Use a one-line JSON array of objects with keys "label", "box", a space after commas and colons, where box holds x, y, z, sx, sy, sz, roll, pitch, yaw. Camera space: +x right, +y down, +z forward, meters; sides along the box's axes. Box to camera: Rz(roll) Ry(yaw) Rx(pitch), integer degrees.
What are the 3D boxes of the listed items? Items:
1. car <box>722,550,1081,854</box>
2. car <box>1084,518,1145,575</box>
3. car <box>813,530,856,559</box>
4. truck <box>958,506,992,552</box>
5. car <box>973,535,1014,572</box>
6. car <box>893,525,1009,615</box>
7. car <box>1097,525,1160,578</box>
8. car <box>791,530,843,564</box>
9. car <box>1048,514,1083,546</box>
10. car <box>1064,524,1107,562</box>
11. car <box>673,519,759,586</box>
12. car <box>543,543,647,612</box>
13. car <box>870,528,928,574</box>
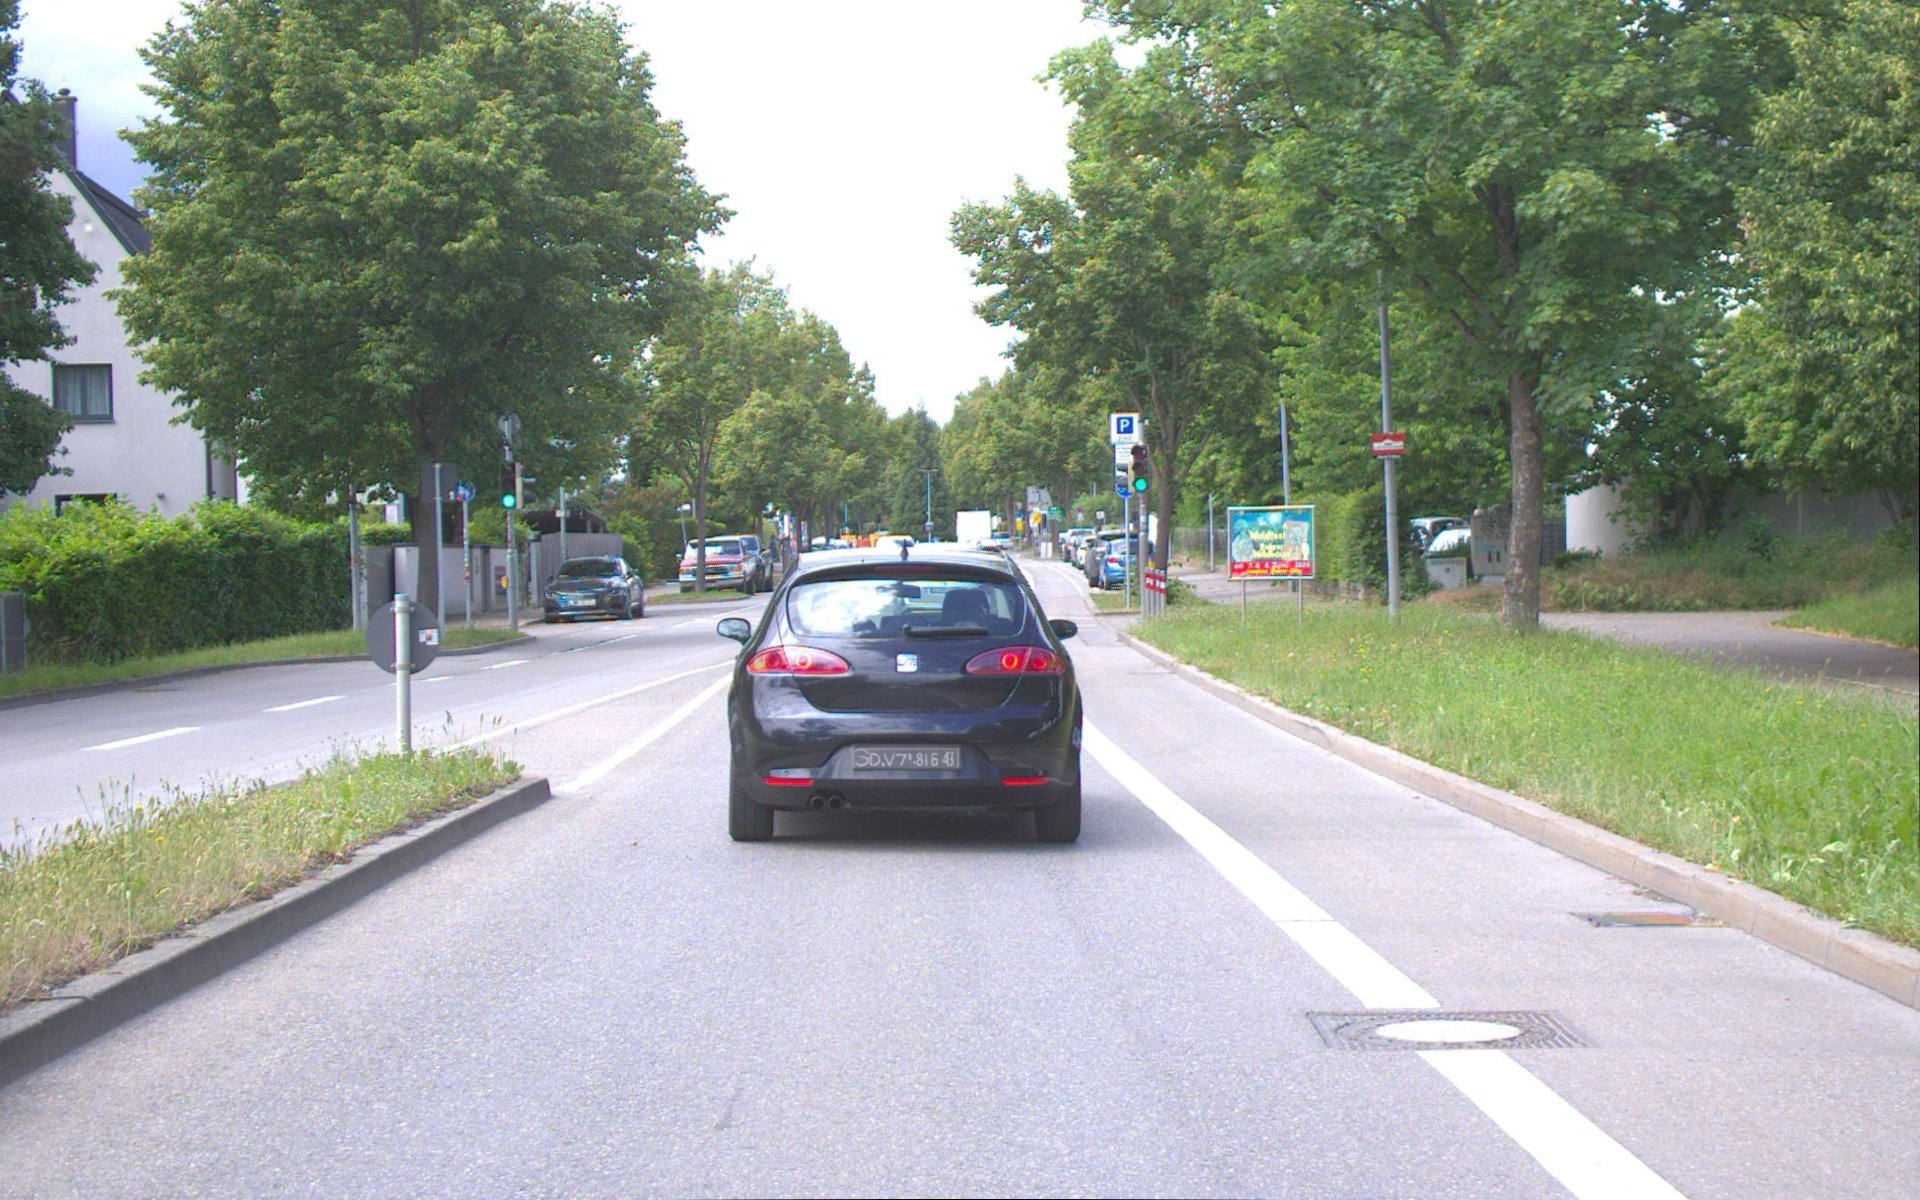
[{"label": "car", "box": [-0.295, 0.448, 17.917, 1.663, 1.396, 3.812, 0, 1, -1]}, {"label": "car", "box": [4.708, -1.653, 105.477, 1.688, 1.705, 4.214, -1, 1, 1]}, {"label": "car", "box": [-7.161, -3.191, 196.127, 2.100, 1.501, 5.784, -3, 1, 1]}, {"label": "truck", "box": [0.993, -4.824, 235.496, 2.279, 3.093, 8.511, 1, 1, 0]}, {"label": "car", "box": [1.592, -2.199, 162.843, 1.881, 1.683, 4.214, -1, 1, 1]}, {"label": "car", "box": [-0.121, -0.530, 59.631, 1.846, 1.504, 3.811, 0, 1, 2]}, {"label": "car", "box": [4.908, -1.428, 100.299, 1.688, 1.485, 3.355, -1, 1, 1]}, {"label": "car", "box": [-6.770, -2.529, 163.295, 2.100, 1.501, 5.784, -3, 1, 1]}, {"label": "car", "box": [5.305, -3.521, 173.341, 1.688, 1.558, 4.214, -1, 1, 1]}, {"label": "car", "box": [5.413, -2.472, 148.732, 1.688, 1.558, 4.214, -1, 1, 1]}, {"label": "car", "box": [-7.484, -1.489, 105.922, 2.100, 1.890, 5.784, -3, 1, 1]}, {"label": "car", "box": [-8.128, -0.518, 76.905, 1.718, 1.390, 4.801, -3, 1, 1]}, {"label": "car", "box": [-2.329, -1.901, 131.969, 1.875, 1.629, 4.340, -3, 1, 3]}]
